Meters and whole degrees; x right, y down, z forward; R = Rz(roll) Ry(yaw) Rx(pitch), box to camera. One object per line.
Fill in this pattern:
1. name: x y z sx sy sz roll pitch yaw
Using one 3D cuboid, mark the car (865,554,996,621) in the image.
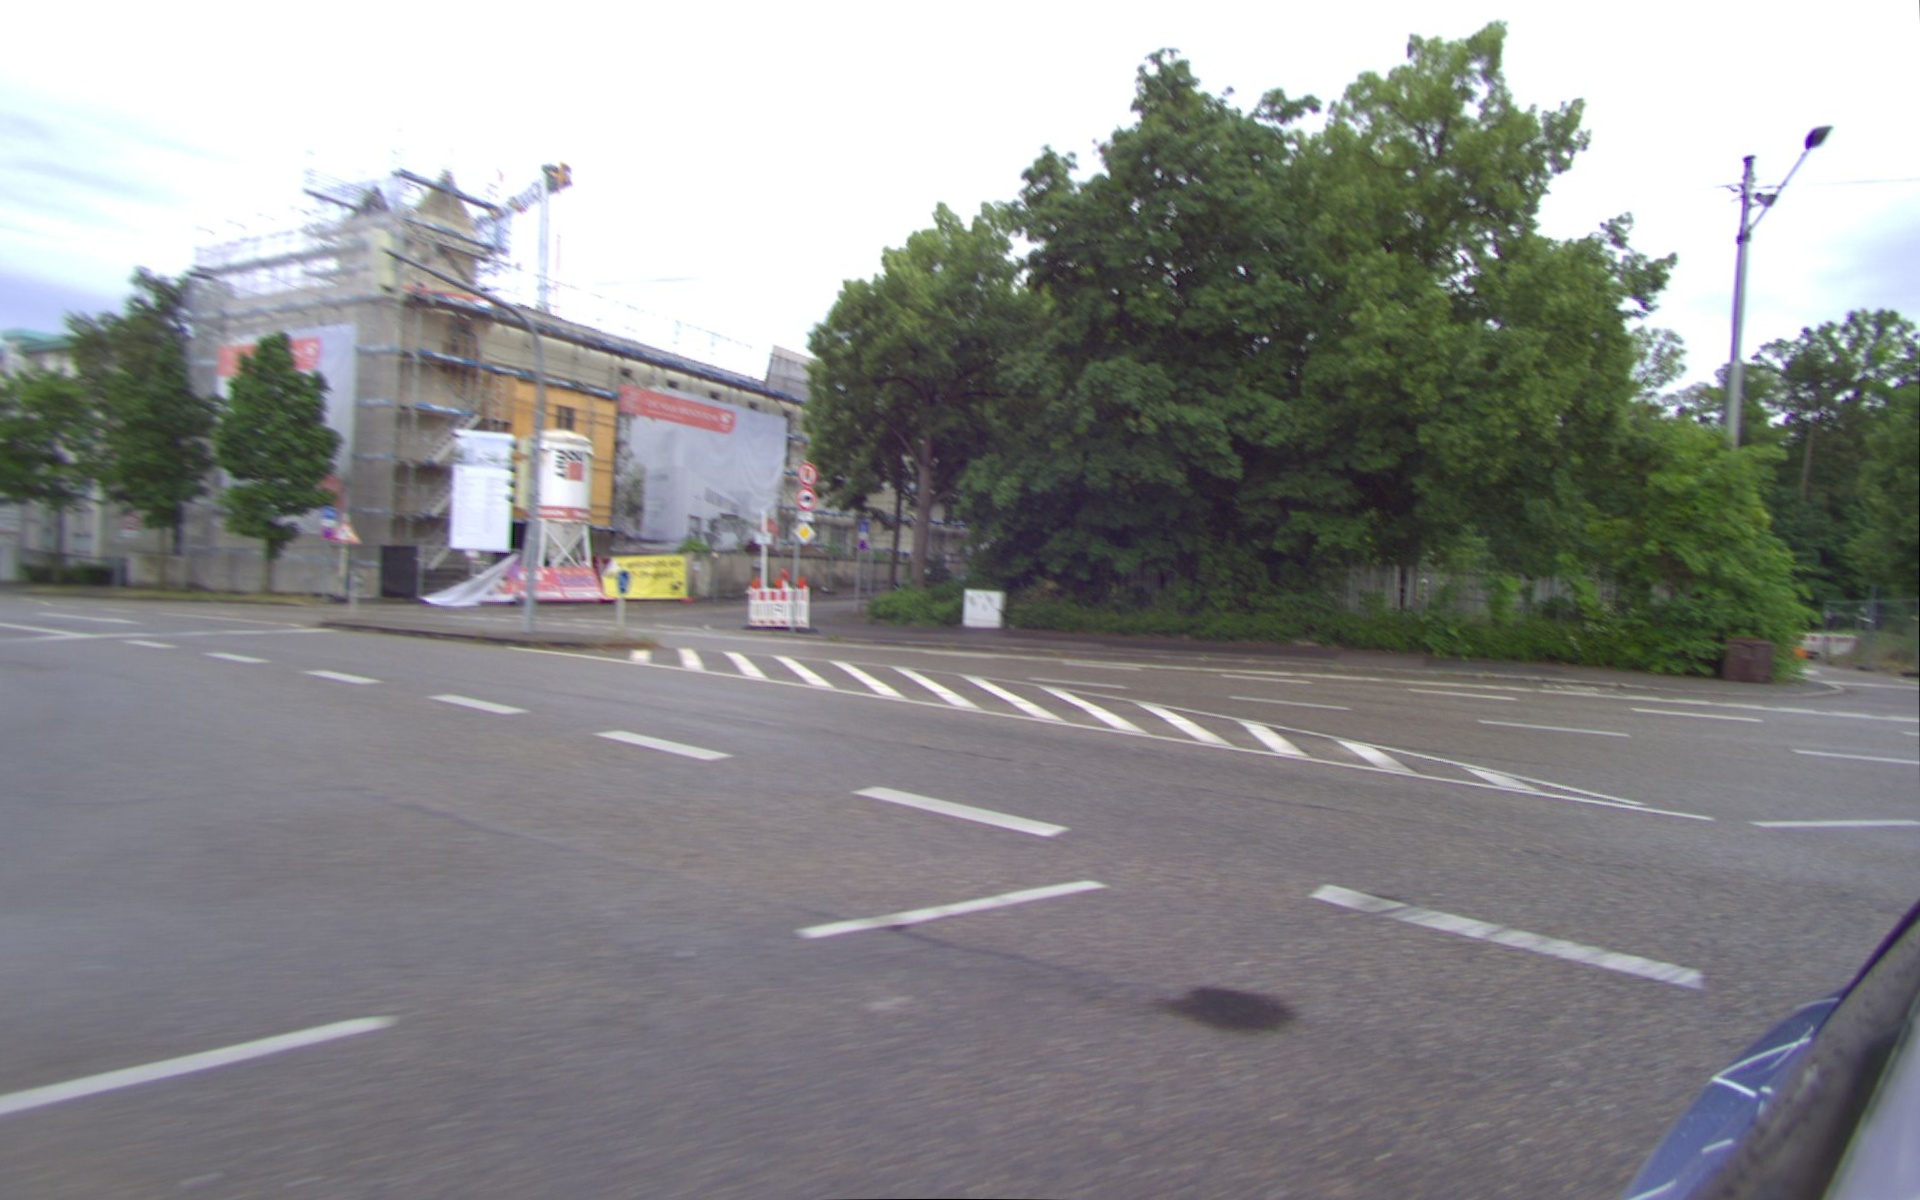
1. car: -1.001 -0.415 33.642 3.915 2.038 2.005 2 1 -17
